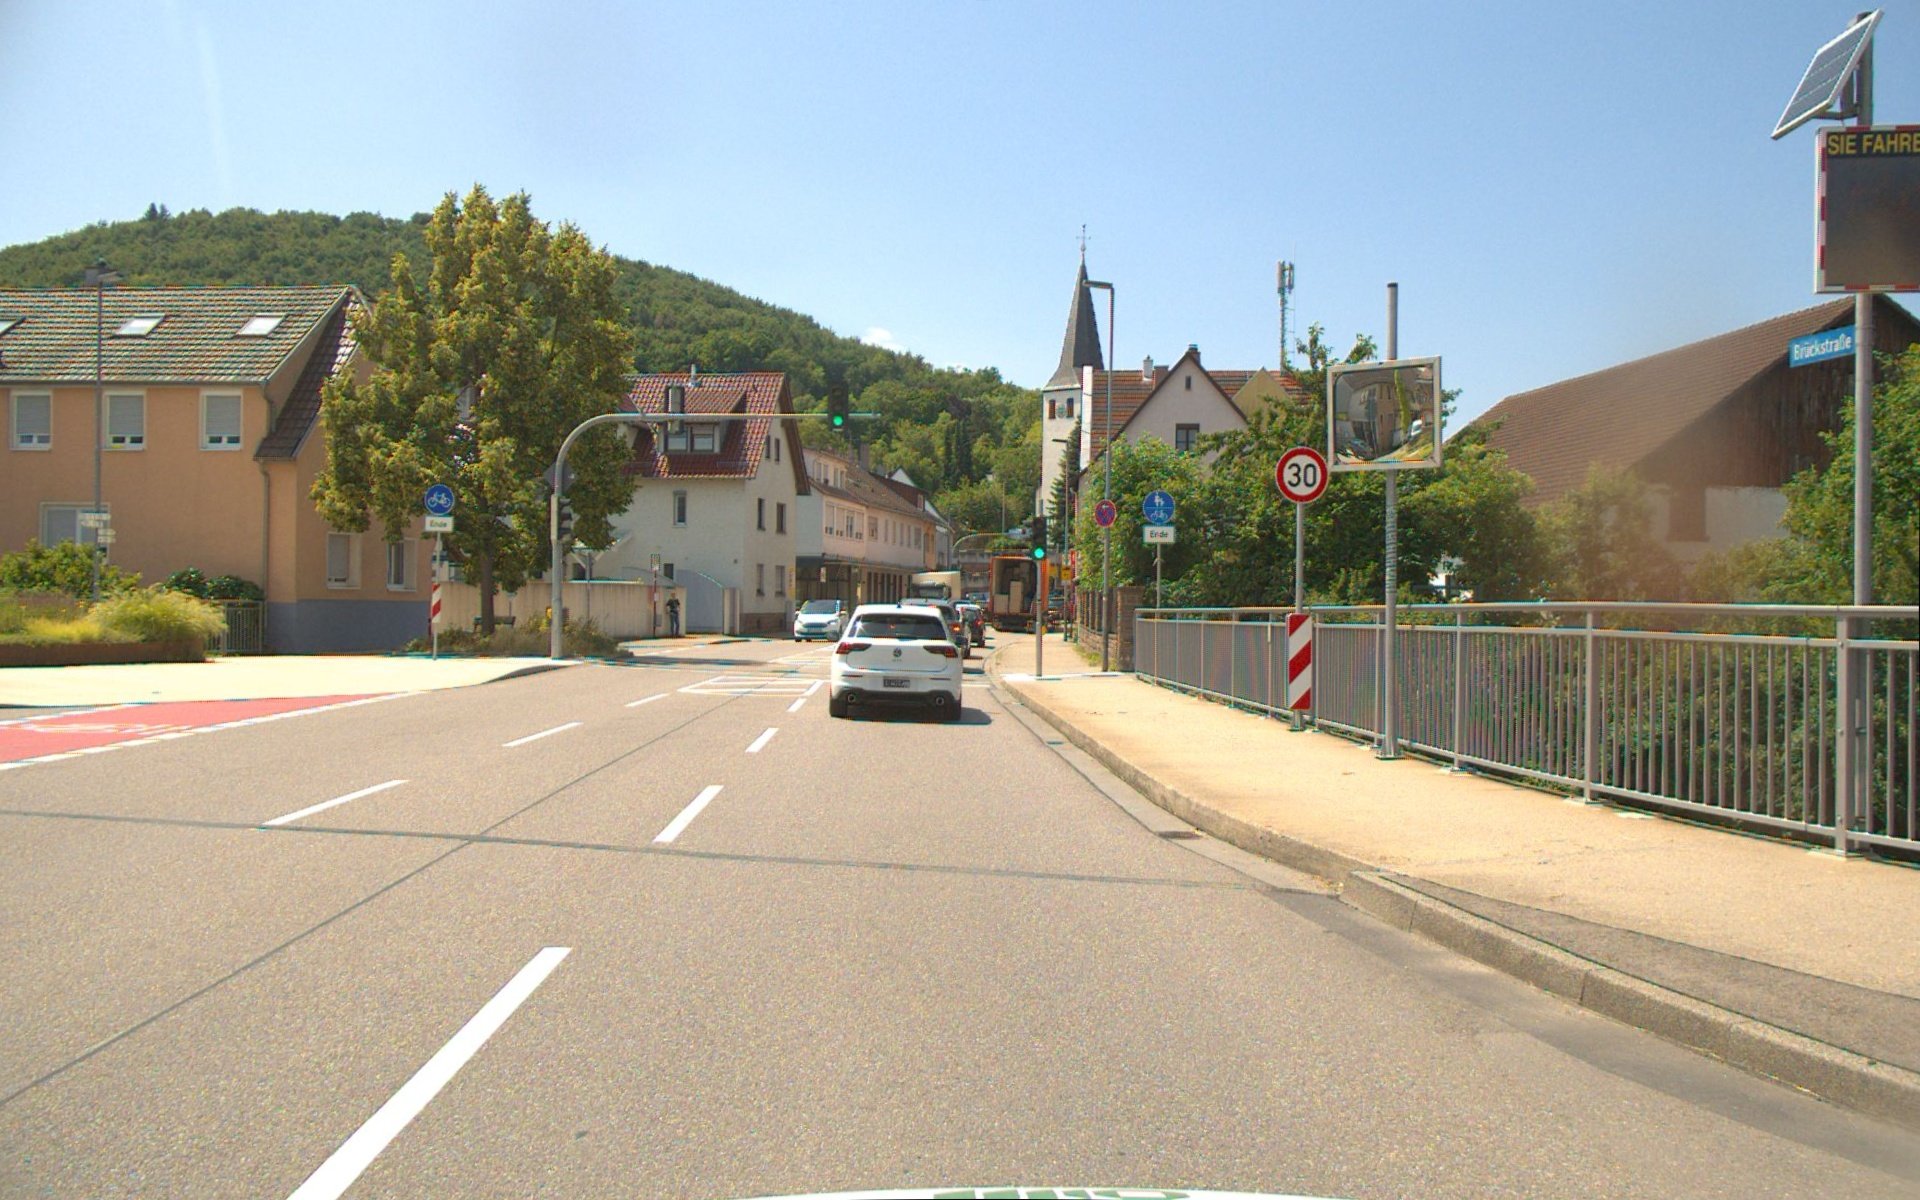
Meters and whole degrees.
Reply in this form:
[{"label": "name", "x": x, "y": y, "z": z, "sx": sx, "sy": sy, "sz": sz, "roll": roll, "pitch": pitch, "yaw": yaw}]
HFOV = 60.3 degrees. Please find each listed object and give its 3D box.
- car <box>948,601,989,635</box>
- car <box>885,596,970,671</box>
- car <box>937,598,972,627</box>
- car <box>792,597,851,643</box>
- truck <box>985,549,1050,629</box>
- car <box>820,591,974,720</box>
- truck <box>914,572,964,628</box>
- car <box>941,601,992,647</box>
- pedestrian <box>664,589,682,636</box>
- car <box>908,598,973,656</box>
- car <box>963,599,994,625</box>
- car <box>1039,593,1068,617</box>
[{"label": "car", "x": 0.422, "y": 0.852, "z": 76.794, "sx": 1.777, "sy": 1.546, "sz": 4.001, "roll": 0, "pitch": -1, "yaw": 2}, {"label": "car", "x": -0.702, "y": 0.777, "z": 38.742, "sx": 1.777, "sy": 1.657, "sz": 4.001, "roll": 0, "pitch": -1, "yaw": 2}, {"label": "car", "x": -0.274, "y": 0.690, "z": 89.135, "sx": 1.777, "sy": 1.546, "sz": 4.001, "roll": 0, "pitch": -1, "yaw": 2}, {"label": "car", "x": -5.308, "y": 0.784, "z": 63.998, "sx": 1.777, "sy": 1.678, "sz": 4.001, "roll": 2, "pitch": -1, "yaw": 2}, {"label": "truck", "x": 3.319, "y": -0.525, "z": 92.749, "sx": 3.296, "sy": 4.243, "sz": 9.523, "roll": 0, "pitch": -1, "yaw": 4}, {"label": "car", "x": -0.771, "y": 0.720, "z": 22.610, "sx": 1.777, "sy": 1.545, "sz": 4.001, "roll": 2, "pitch": -1, "yaw": 2}, {"label": "truck", "x": -1.235, "y": 0.023, "z": 101.500, "sx": 2.449, "sy": 3.292, "sz": 6.043, "roll": 0, "pitch": -1, "yaw": 5}, {"label": "car", "x": 0.281, "y": 0.894, "z": 62.166, "sx": 1.777, "sy": 1.657, "sz": 4.001, "roll": 0, "pitch": -1, "yaw": 2}, {"label": "pedestrian", "x": -10.986, "y": 0.468, "z": 63.341, "sx": 0.425, "sy": 1.795, "sz": 0.557, "roll": 0, "pitch": 0, "yaw": 20}, {"label": "car", "x": -0.541, "y": 0.804, "z": 49.547, "sx": 1.777, "sy": 1.657, "sz": 4.001, "roll": 0, "pitch": -1, "yaw": 2}, {"label": "car", "x": 1.109, "y": 0.738, "z": 99.186, "sx": 1.777, "sy": 1.546, "sz": 4.001, "roll": 0, "pitch": -1, "yaw": 2}, {"label": "car", "x": 6.063, "y": 0.340, "z": 107.989, "sx": 1.777, "sy": 1.546, "sz": 4.001, "roll": 0, "pitch": -1, "yaw": 2}]
